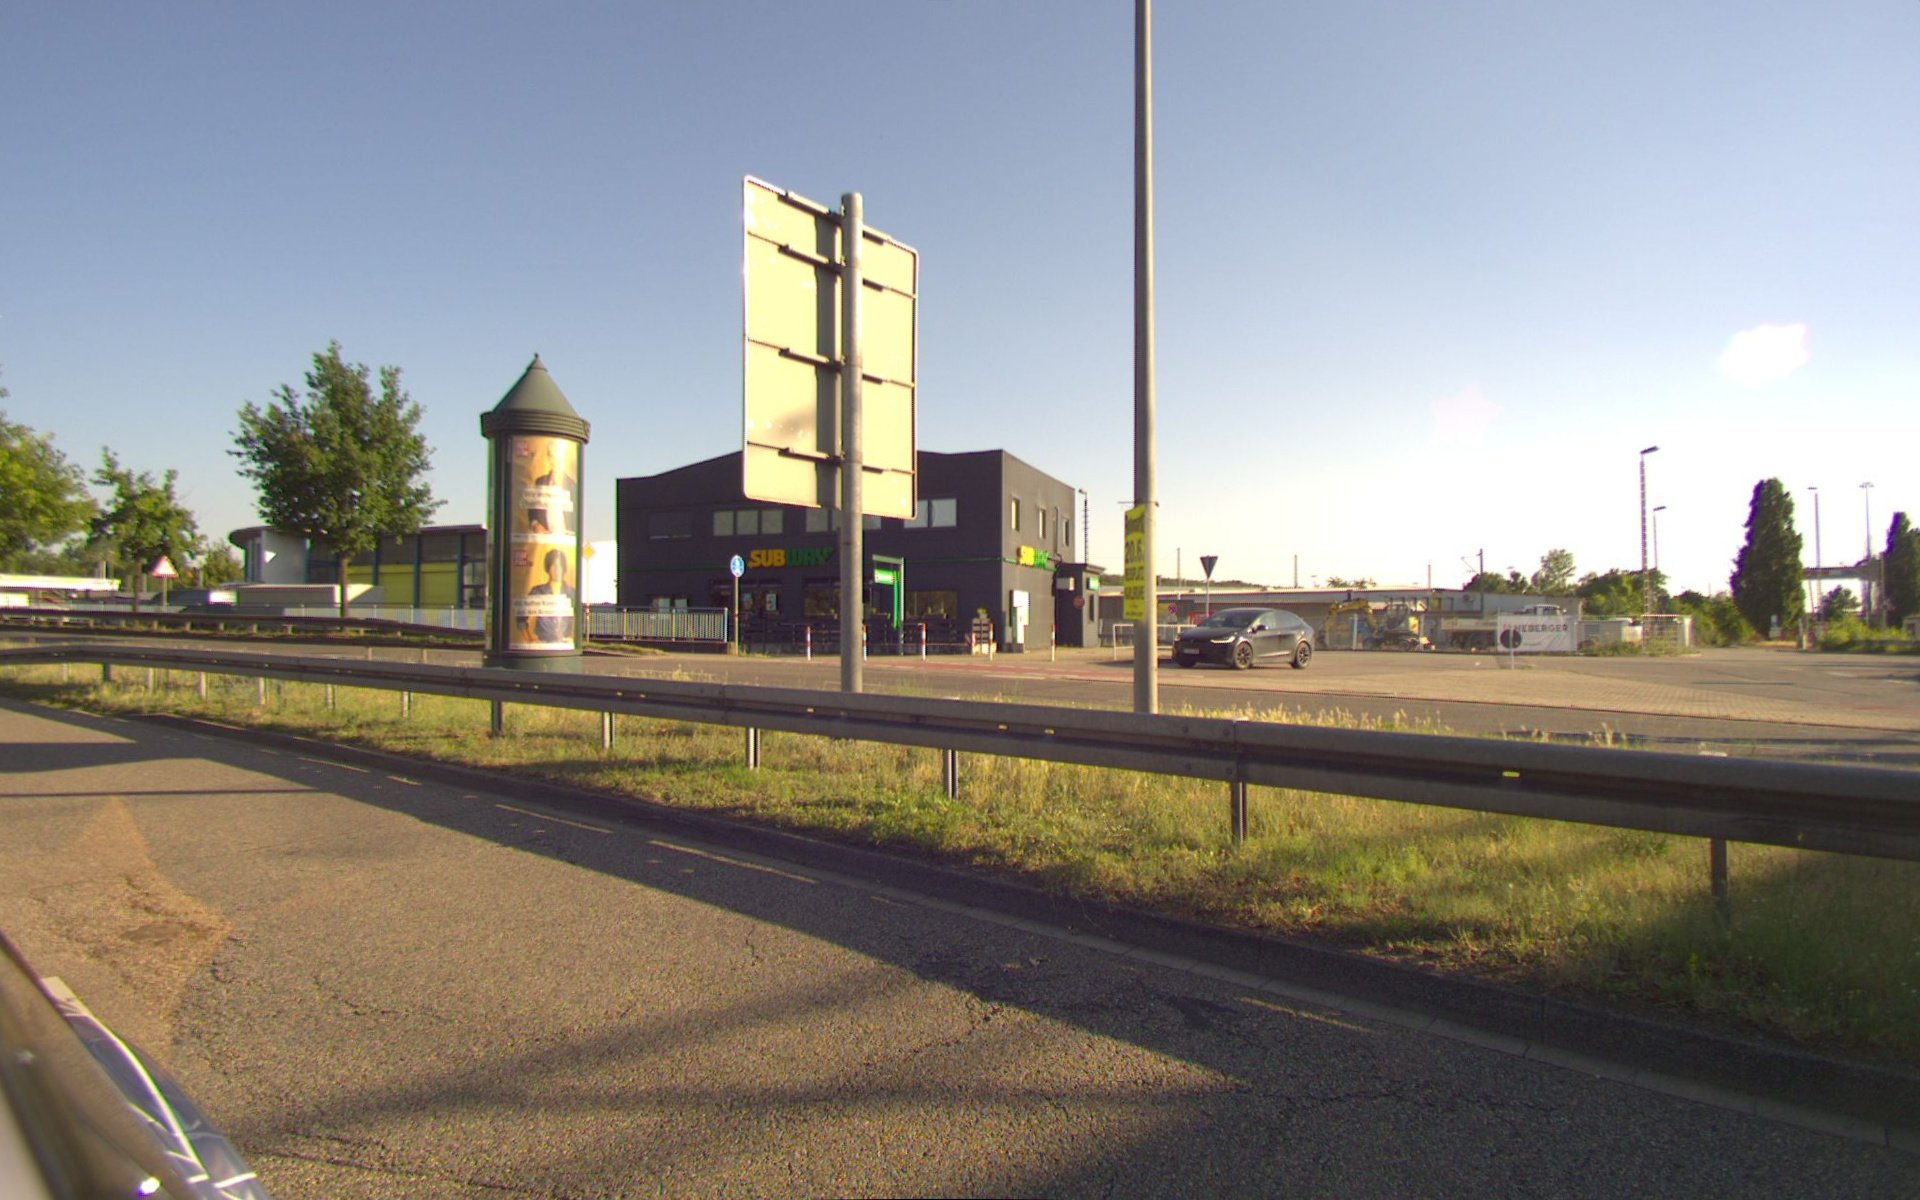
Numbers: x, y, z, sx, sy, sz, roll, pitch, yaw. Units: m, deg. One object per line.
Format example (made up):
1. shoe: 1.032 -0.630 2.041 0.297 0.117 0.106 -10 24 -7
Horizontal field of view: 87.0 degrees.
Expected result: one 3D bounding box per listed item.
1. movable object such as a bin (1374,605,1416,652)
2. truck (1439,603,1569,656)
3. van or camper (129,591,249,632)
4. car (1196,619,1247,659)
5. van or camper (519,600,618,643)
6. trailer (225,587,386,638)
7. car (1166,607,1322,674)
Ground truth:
1. movable object such as a bin: 26.061 1.679 60.592 2.210 2.735 1.723 0 -1 28
2. truck: 33.977 1.816 63.389 6.696 3.168 2.434 1 -1 6
3. van or camper: -34.642 0.488 45.483 4.924 1.698 1.986 1 0 21
4. car: 11.029 1.593 42.473 1.829 1.541 3.976 1 -1 18
5. van or camper: -19.236 1.050 49.792 4.158 1.940 2.006 2 -1 -33
6. trailer: -27.855 0.502 43.026 6.560 1.985 2.410 1 0 22
7. car: 7.793 1.052 27.617 4.445 1.676 1.796 1 -1 -38
